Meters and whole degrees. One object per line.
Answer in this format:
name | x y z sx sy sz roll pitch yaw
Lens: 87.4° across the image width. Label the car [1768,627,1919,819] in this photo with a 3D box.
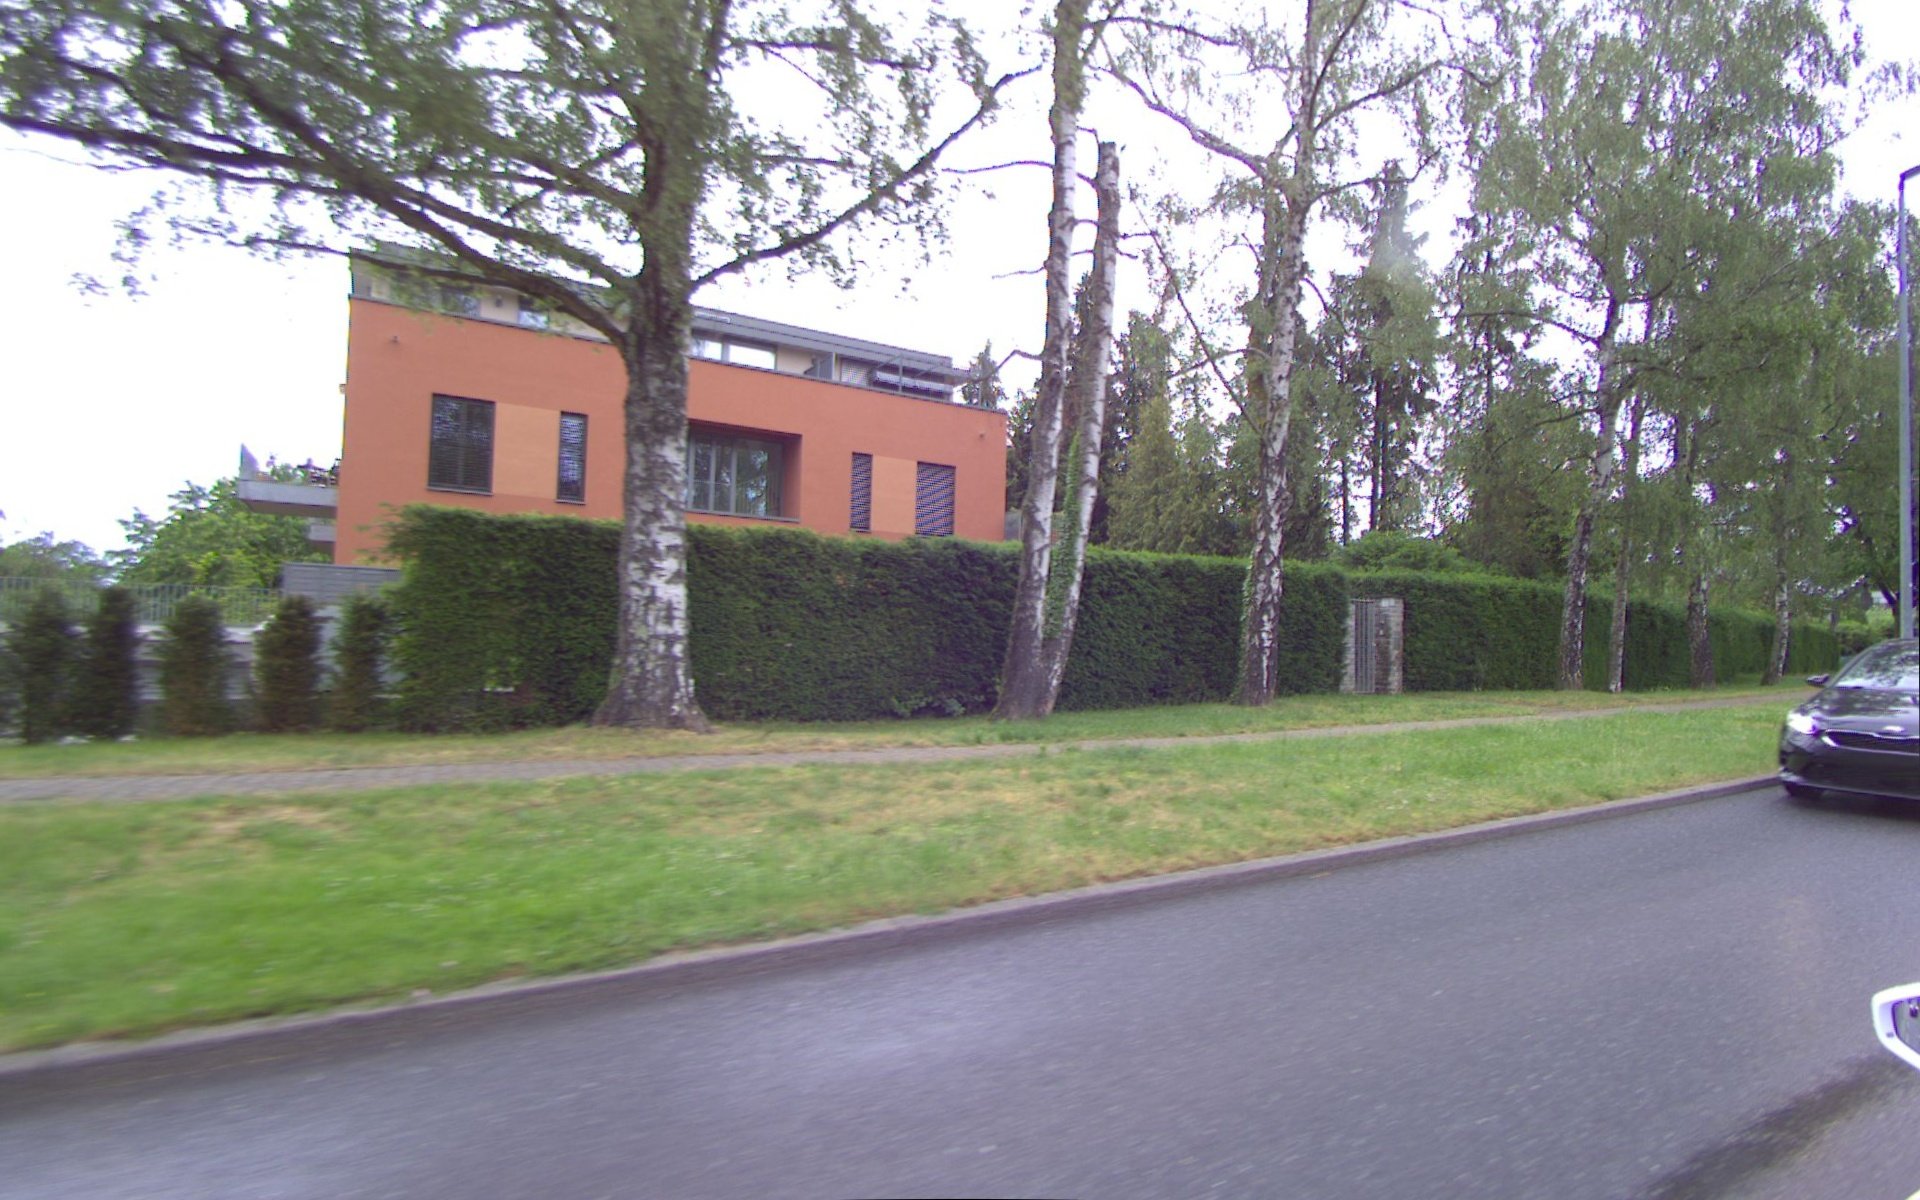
car | 9.039 0.993 9.048 4.117 1.460 1.742 1 0 -36
